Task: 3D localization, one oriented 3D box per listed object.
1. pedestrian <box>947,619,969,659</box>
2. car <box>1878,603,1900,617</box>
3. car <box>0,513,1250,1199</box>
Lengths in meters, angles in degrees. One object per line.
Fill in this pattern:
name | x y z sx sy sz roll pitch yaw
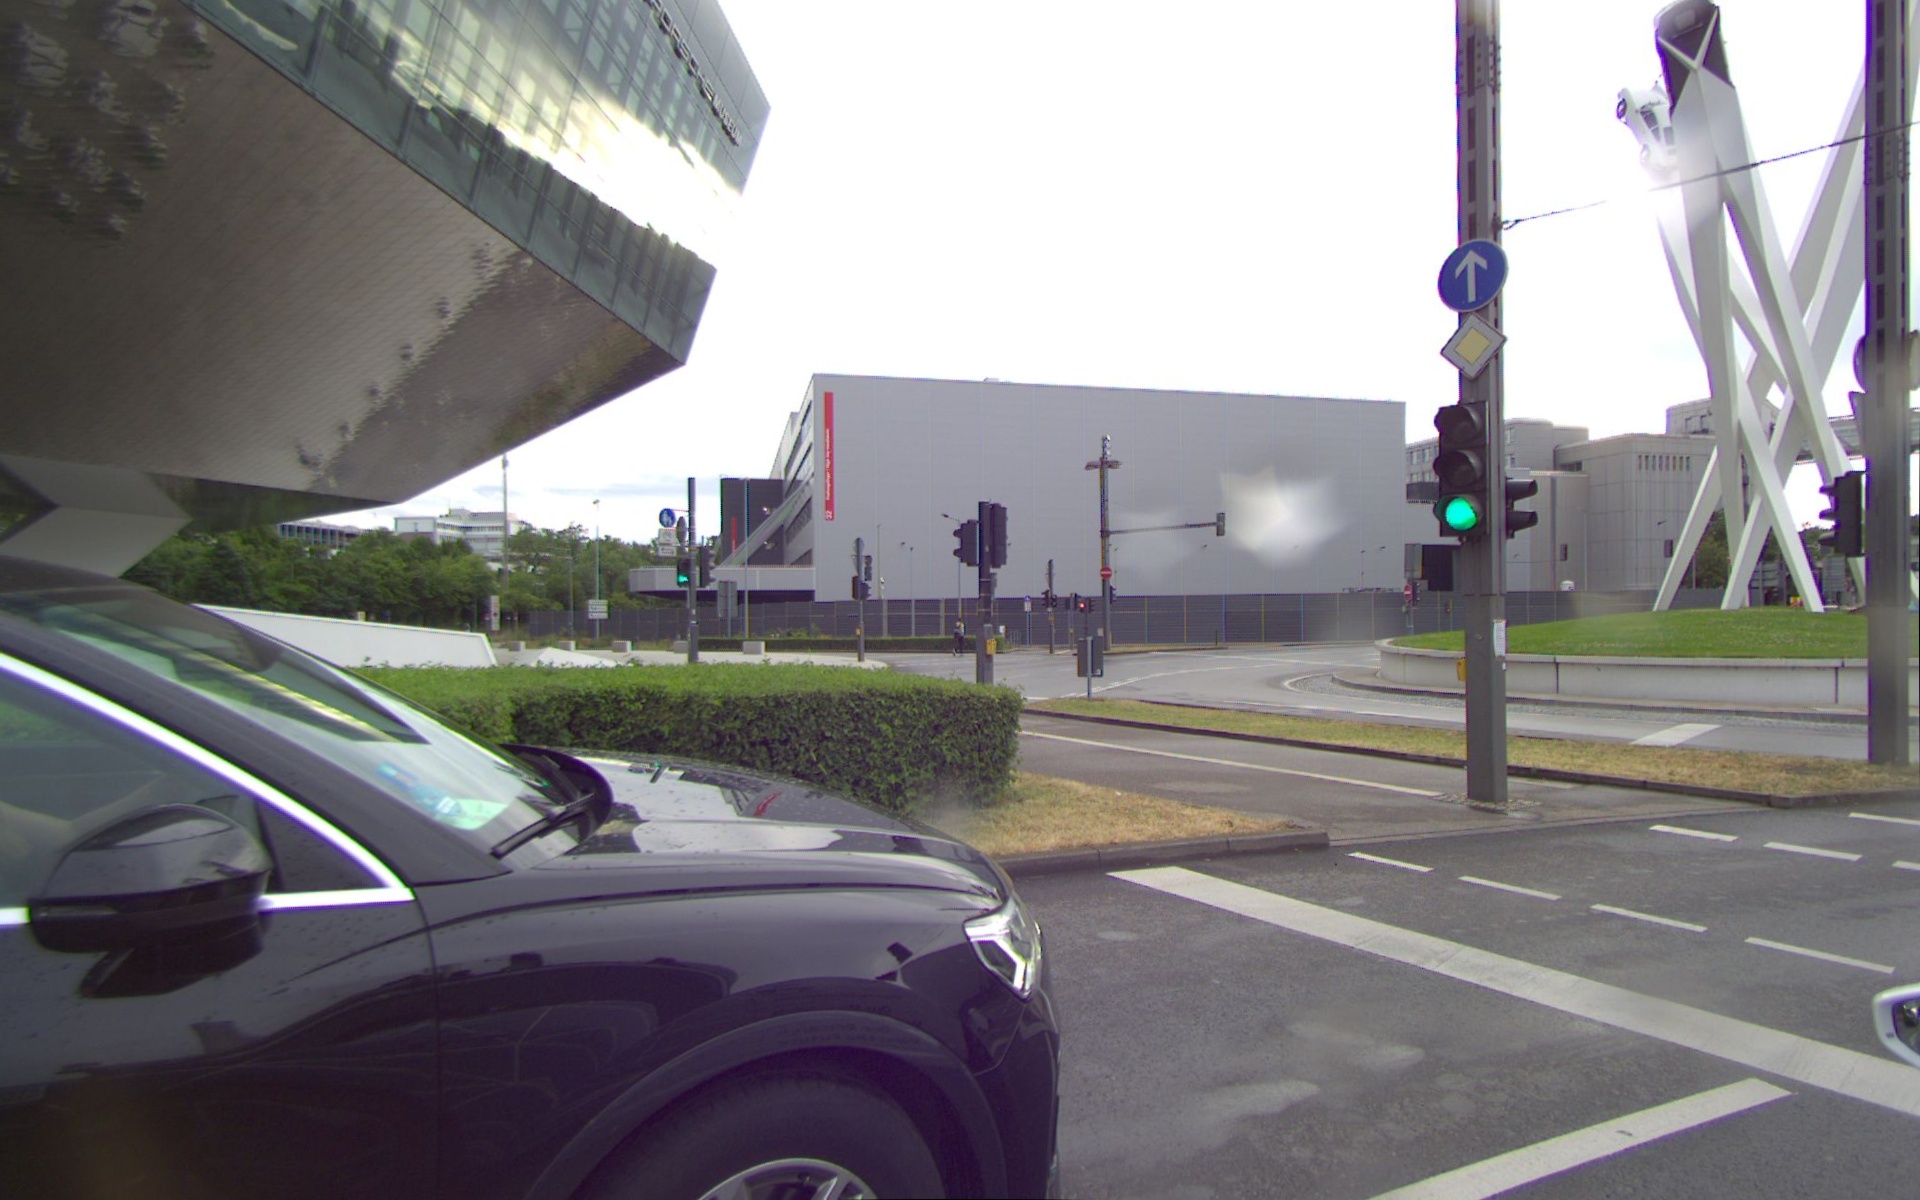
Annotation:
pedestrian | -0.088 1.805 46.875 0.638 1.827 0.851 0 0 35
car | 101.928 1.045 110.201 1.763 1.459 4.370 -1 0 42
car | -1.727 0.659 1.659 4.345 1.538 1.743 2 -1 -31
